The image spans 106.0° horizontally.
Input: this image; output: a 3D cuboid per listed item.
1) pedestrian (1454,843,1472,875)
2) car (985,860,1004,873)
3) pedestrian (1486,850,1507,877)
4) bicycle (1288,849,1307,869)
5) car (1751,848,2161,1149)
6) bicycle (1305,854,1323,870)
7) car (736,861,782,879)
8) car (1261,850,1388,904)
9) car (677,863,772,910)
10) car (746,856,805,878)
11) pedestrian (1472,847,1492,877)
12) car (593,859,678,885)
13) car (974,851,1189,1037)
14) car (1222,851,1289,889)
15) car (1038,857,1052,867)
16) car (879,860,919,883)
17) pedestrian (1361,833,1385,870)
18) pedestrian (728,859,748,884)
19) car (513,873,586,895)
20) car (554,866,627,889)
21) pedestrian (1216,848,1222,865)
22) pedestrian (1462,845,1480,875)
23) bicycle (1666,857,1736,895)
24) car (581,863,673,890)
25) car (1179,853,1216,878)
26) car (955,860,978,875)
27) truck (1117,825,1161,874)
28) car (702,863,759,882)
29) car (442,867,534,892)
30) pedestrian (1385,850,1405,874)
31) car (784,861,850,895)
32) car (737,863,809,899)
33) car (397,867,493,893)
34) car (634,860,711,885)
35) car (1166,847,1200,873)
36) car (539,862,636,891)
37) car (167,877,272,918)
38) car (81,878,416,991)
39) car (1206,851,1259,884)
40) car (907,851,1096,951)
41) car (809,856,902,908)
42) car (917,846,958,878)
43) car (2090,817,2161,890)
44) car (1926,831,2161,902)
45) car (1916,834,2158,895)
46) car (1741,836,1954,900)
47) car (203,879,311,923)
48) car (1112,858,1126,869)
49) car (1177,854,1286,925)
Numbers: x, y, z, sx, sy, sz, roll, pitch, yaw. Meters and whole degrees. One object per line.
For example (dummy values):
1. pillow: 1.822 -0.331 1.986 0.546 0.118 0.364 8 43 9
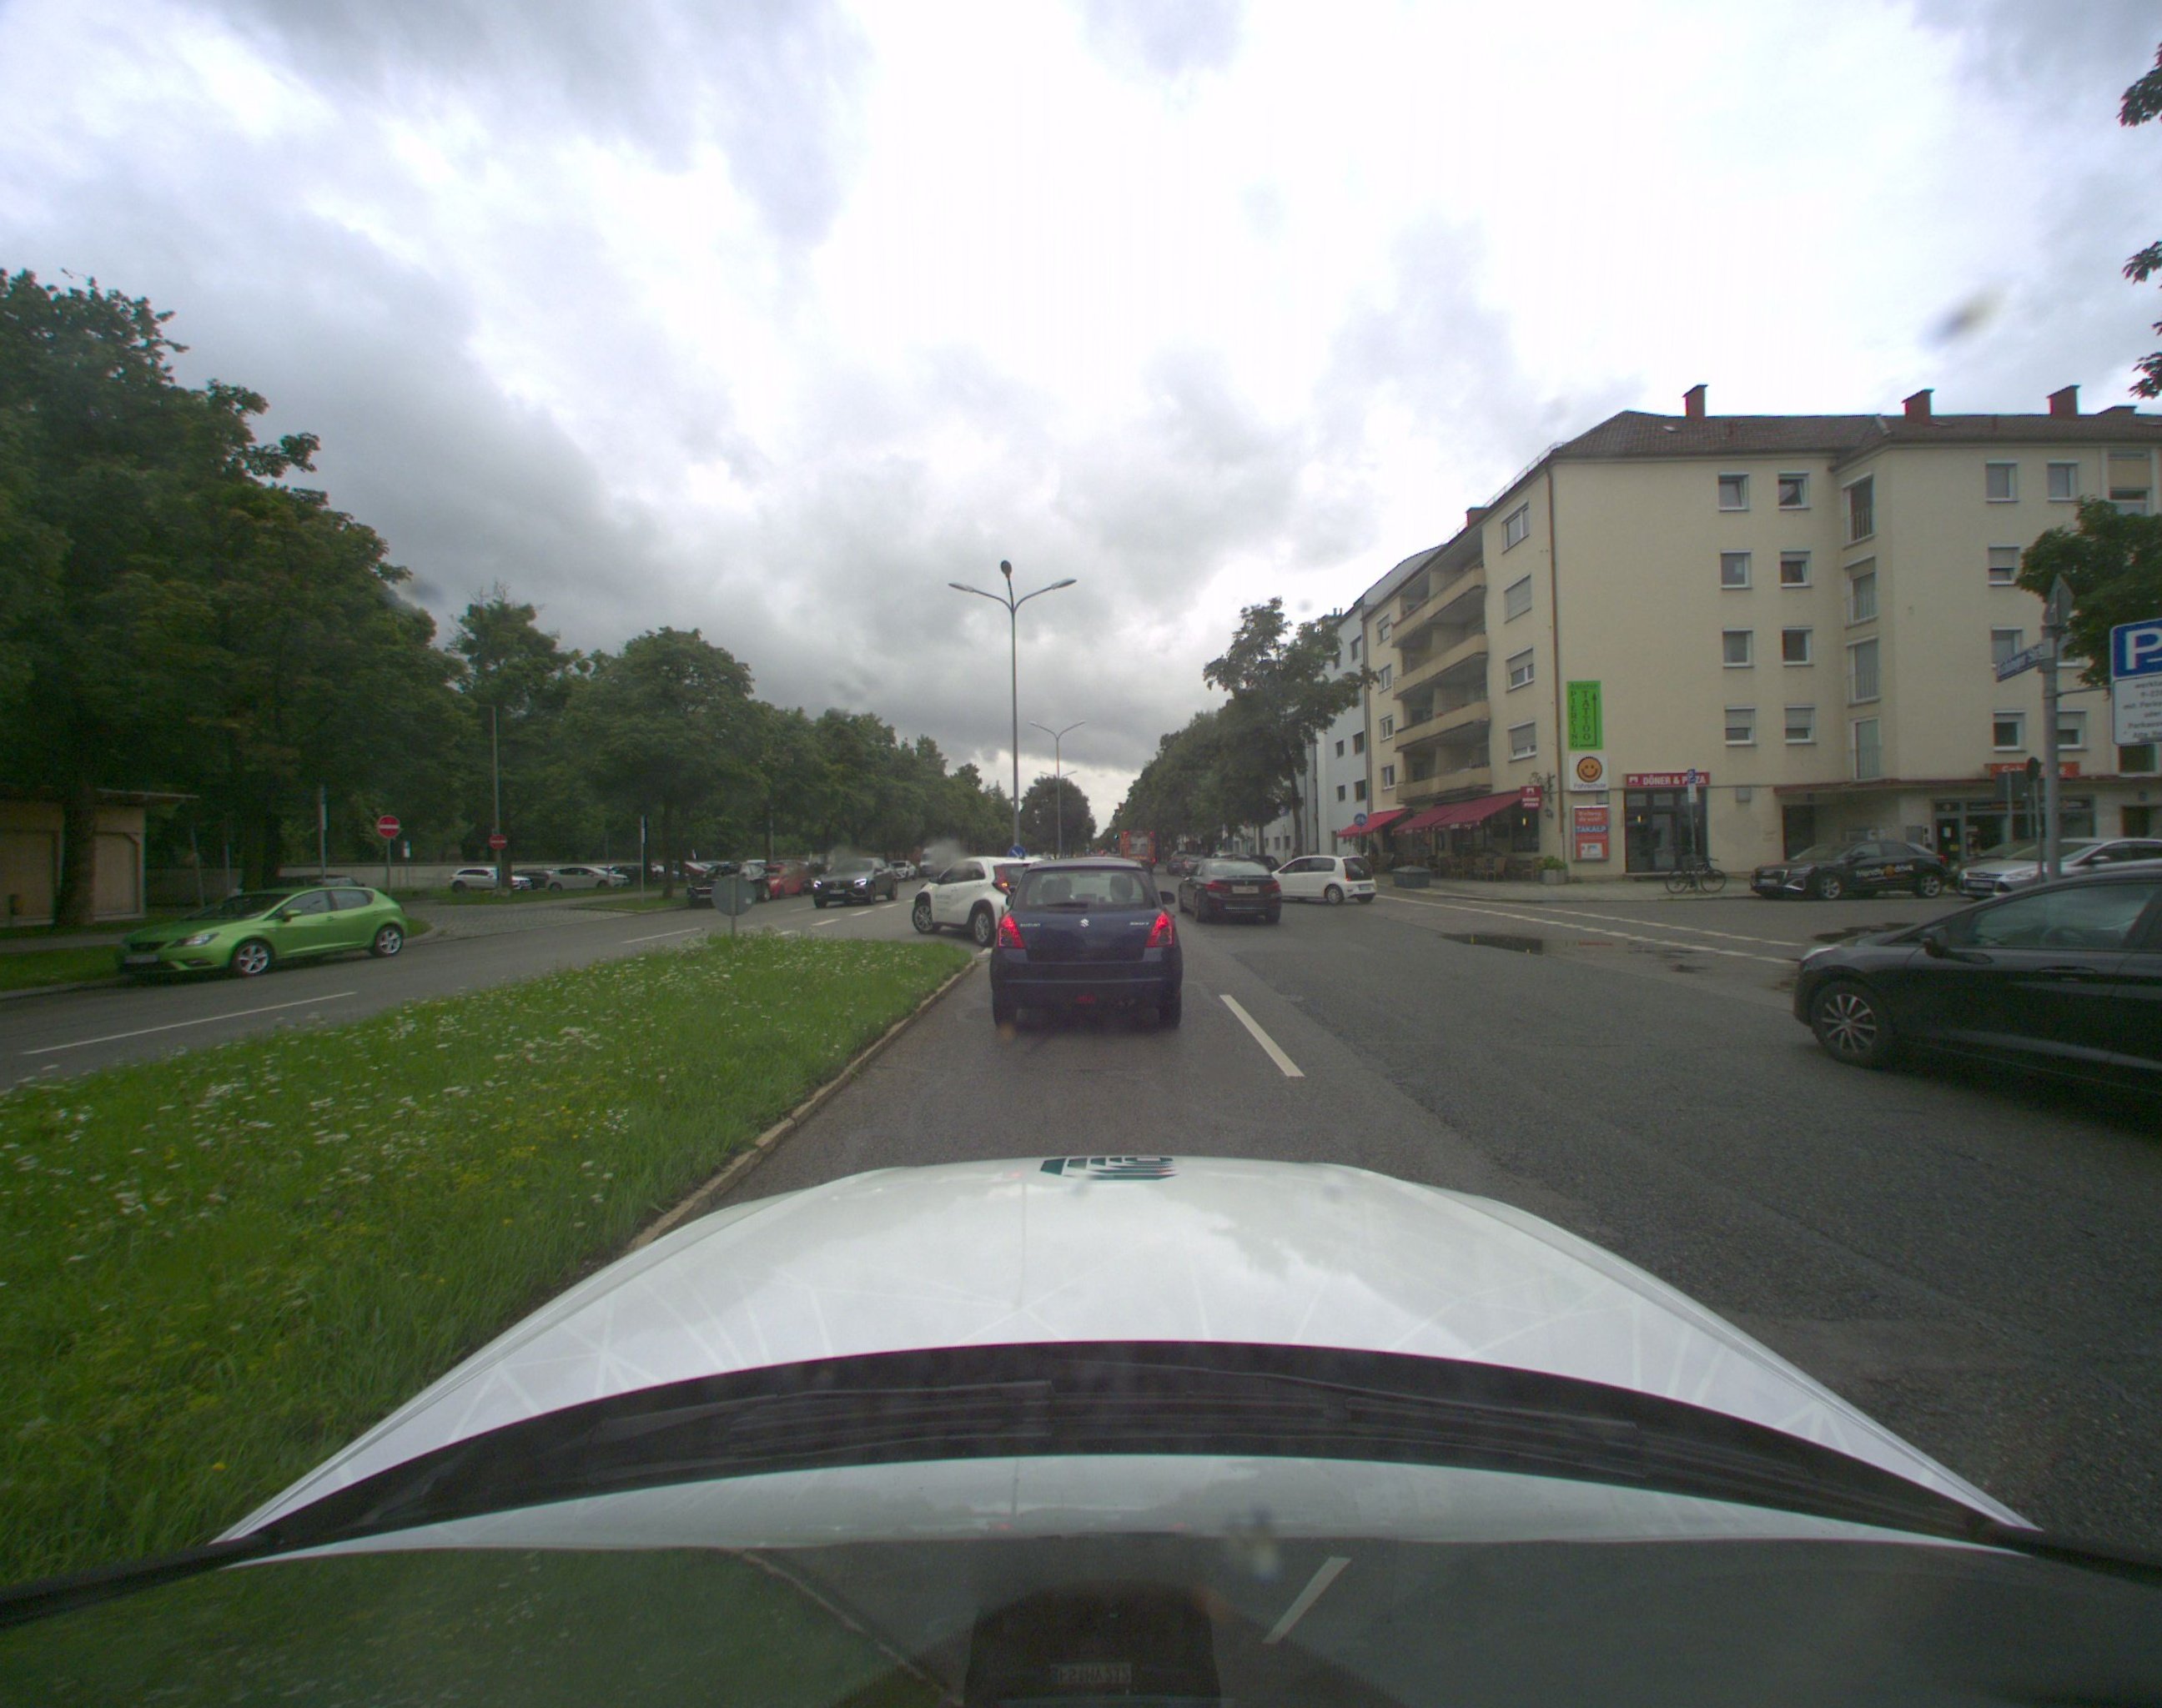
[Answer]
1. pedestrian: 16.542 0.217 35.267 0.536 1.339 0.552 -1 0 0
2. car: -11.451 1.670 108.019 1.881 1.537 4.313 -4 0 -1
3. pedestrian: 16.226 0.378 31.805 0.536 1.054 0.487 -1 0 1
4. bicycle: 16.365 0.358 61.589 0.700 1.407 2.593 -3 0 1
5. car: 6.203 0.715 4.601 1.638 1.477 3.957 -1 0 1
6. bicycle: 16.368 0.558 57.229 0.619 1.046 2.196 -1 0 1
7. car: -37.754 1.864 95.473 4.490 2.034 2.000 -1 0 0
8. car: 7.373 0.672 24.895 1.699 1.490 3.397 -1 0 -36
9. car: -13.786 1.216 31.761 1.815 1.700 4.238 -1 -1 0
10. car: -24.621 1.037 65.669 3.971 1.570 1.816 -1 0 2
11. pedestrian: 16.426 0.308 33.365 0.536 1.214 0.487 -1 0 1
12. car: -26.976 1.083 49.397 3.980 1.442 1.997 -1 0 -5
13. car: 0.072 0.745 8.724 1.746 1.505 4.002 -1 0 2
14. car: 7.397 0.641 34.867 1.825 1.473 3.883 -1 0 -4
15. car: -5.451 1.198 123.378 1.809 1.448 4.782 -2 0 0
16. car: -13.153 1.279 59.041 1.816 1.527 4.298 -3 -1 0
17. pedestrian: 15.336 -0.130 42.806 0.870 1.929 0.757 -1 0 -15
18. pedestrian: -20.713 1.038 49.136 0.792 1.495 0.856 -2 0 1
19. car: -37.575 2.123 57.592 3.967 1.372 1.881 -1 0 5
20. car: -38.494 1.818 63.988 4.490 1.625 2.000 -1 0 0
21. pedestrian: 14.281 0.237 84.301 0.498 1.733 0.733 -3 0 1
22. pedestrian: 16.443 0.246 34.353 0.536 1.268 0.487 -1 0 0
23. bicycle: 17.538 0.615 23.053 1.532 1.011 0.554 -1 0 4
24. car: -26.173 1.288 47.026 4.123 1.442 1.999 -1 0 -2
25. car: 7.527 0.738 53.001 1.823 1.522 3.770 -1 0 0
26. car: -12.407 1.456 88.593 1.851 1.491 4.141 -1 -1 0
27. truck: 4.565 -0.361 66.713 3.030 3.557 13.681 -1 0 2
28. car: -29.558 1.520 68.787 3.980 1.442 1.997 -1 0 -5
29. car: -38.430 1.642 52.852 4.488 1.442 2.001 -1 0 2
30. pedestrian: 15.956 0.398 41.359 0.741 1.163 0.647 -1 0 1
31. car: -13.461 1.198 41.804 1.814 1.599 4.115 -1 0 3
32. car: -13.924 1.198 37.014 1.815 1.479 3.809 -1 -1 0
33. car: -39.354 1.602 50.455 4.484 1.442 2.003 -1 0 5
34. car: -26.316 1.180 52.578 3.980 1.442 1.997 -1 0 -5
35. car: 7.185 0.390 57.882 1.823 1.746 4.507 -1 0 0
36. car: -26.628 1.202 44.047 3.980 1.442 1.997 -1 0 -5
37. car: -33.058 1.626 31.230 4.411 1.409 1.871 -1 0 31
38. car: -14.249 1.287 14.338 1.634 1.499 4.002 -3 0 2
39. car: 7.496 0.644 40.721 1.823 1.522 4.523 -1 0 0
40. car: -1.561 0.758 14.902 1.835 1.553 3.680 -1 0 -36
41. car: -7.659 0.895 28.162 1.815 1.589 4.503 -1 0 1
42. car: -12.828 0.637 73.106 2.132 2.643 7.107 -3 0 1
43. car: 30.416 -0.071 21.573 4.968 1.885 1.999 -1 0 -1
44. car: 21.978 0.243 18.165 4.194 1.442 2.000 -1 0 0
45. car: 24.738 0.249 21.194 3.975 1.442 1.999 -1 0 -1
46. car: 19.671 0.342 21.017 3.913 1.519 1.730 -1 0 -1
47. car: -29.467 1.644 29.119 3.809 1.409 1.871 -1 0 31
48. car: 5.284 1.317 114.312 1.823 1.522 3.770 -1 0 0
49. car: 3.453 0.741 19.509 1.815 1.477 4.691 1 0 1
